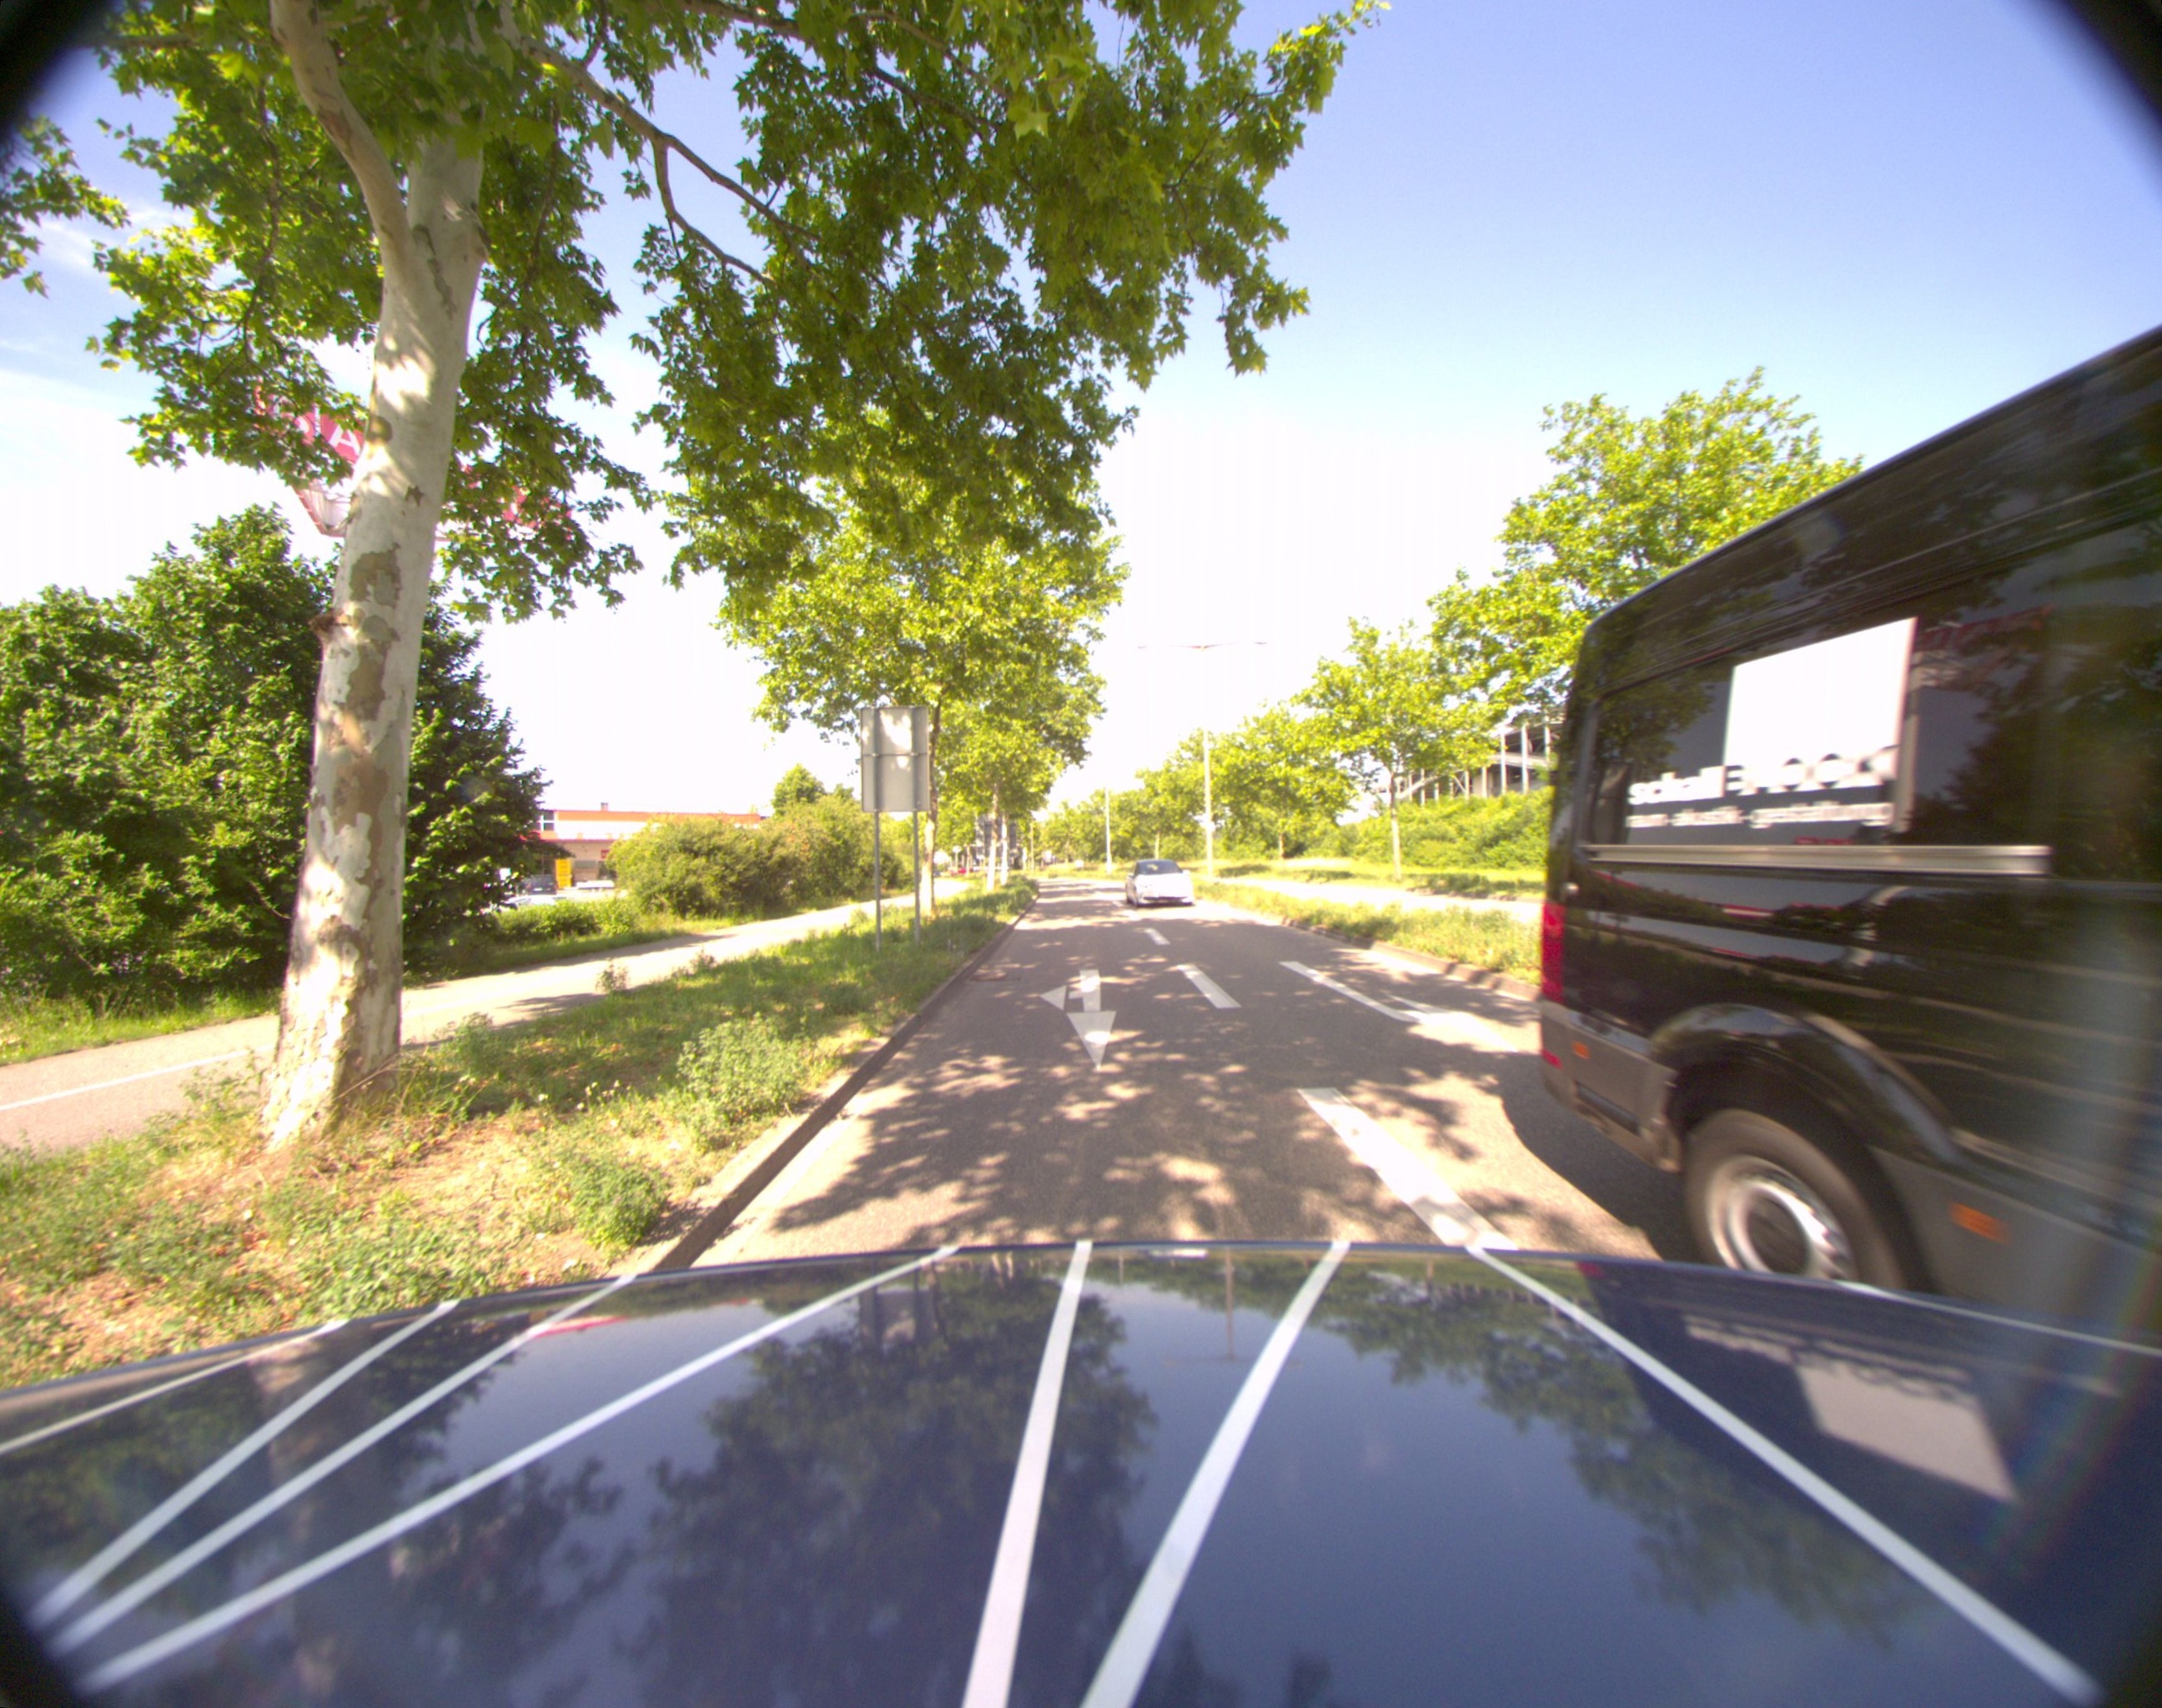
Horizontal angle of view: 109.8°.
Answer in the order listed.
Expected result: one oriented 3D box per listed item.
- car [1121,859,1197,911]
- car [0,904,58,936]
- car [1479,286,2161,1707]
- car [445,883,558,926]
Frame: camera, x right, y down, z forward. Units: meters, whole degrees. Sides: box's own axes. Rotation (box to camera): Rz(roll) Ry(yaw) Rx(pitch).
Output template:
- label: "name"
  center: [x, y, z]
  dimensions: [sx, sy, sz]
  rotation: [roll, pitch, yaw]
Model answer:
- label: "car"
  center: [2.516, 0.960, 25.438]
  dimensions: [1.824, 1.512, 4.207]
  rotation: [-2, 0, -3]
- label: "car"
  center: [-52.484, 3.247, 37.372]
  dimensions: [1.572, 1.371, 3.610]
  rotation: [-2, 0, -37]
- label: "car"
  center: [2.888, 0.293, 0.481]
  dimensions: [2.021, 2.592, 6.168]
  rotation: [-2, 0, 1]
- label: "car"
  center: [-21.357, 1.848, 28.080]
  dimensions: [3.161, 1.447, 1.195]
  rotation: [-1, 1, -2]
